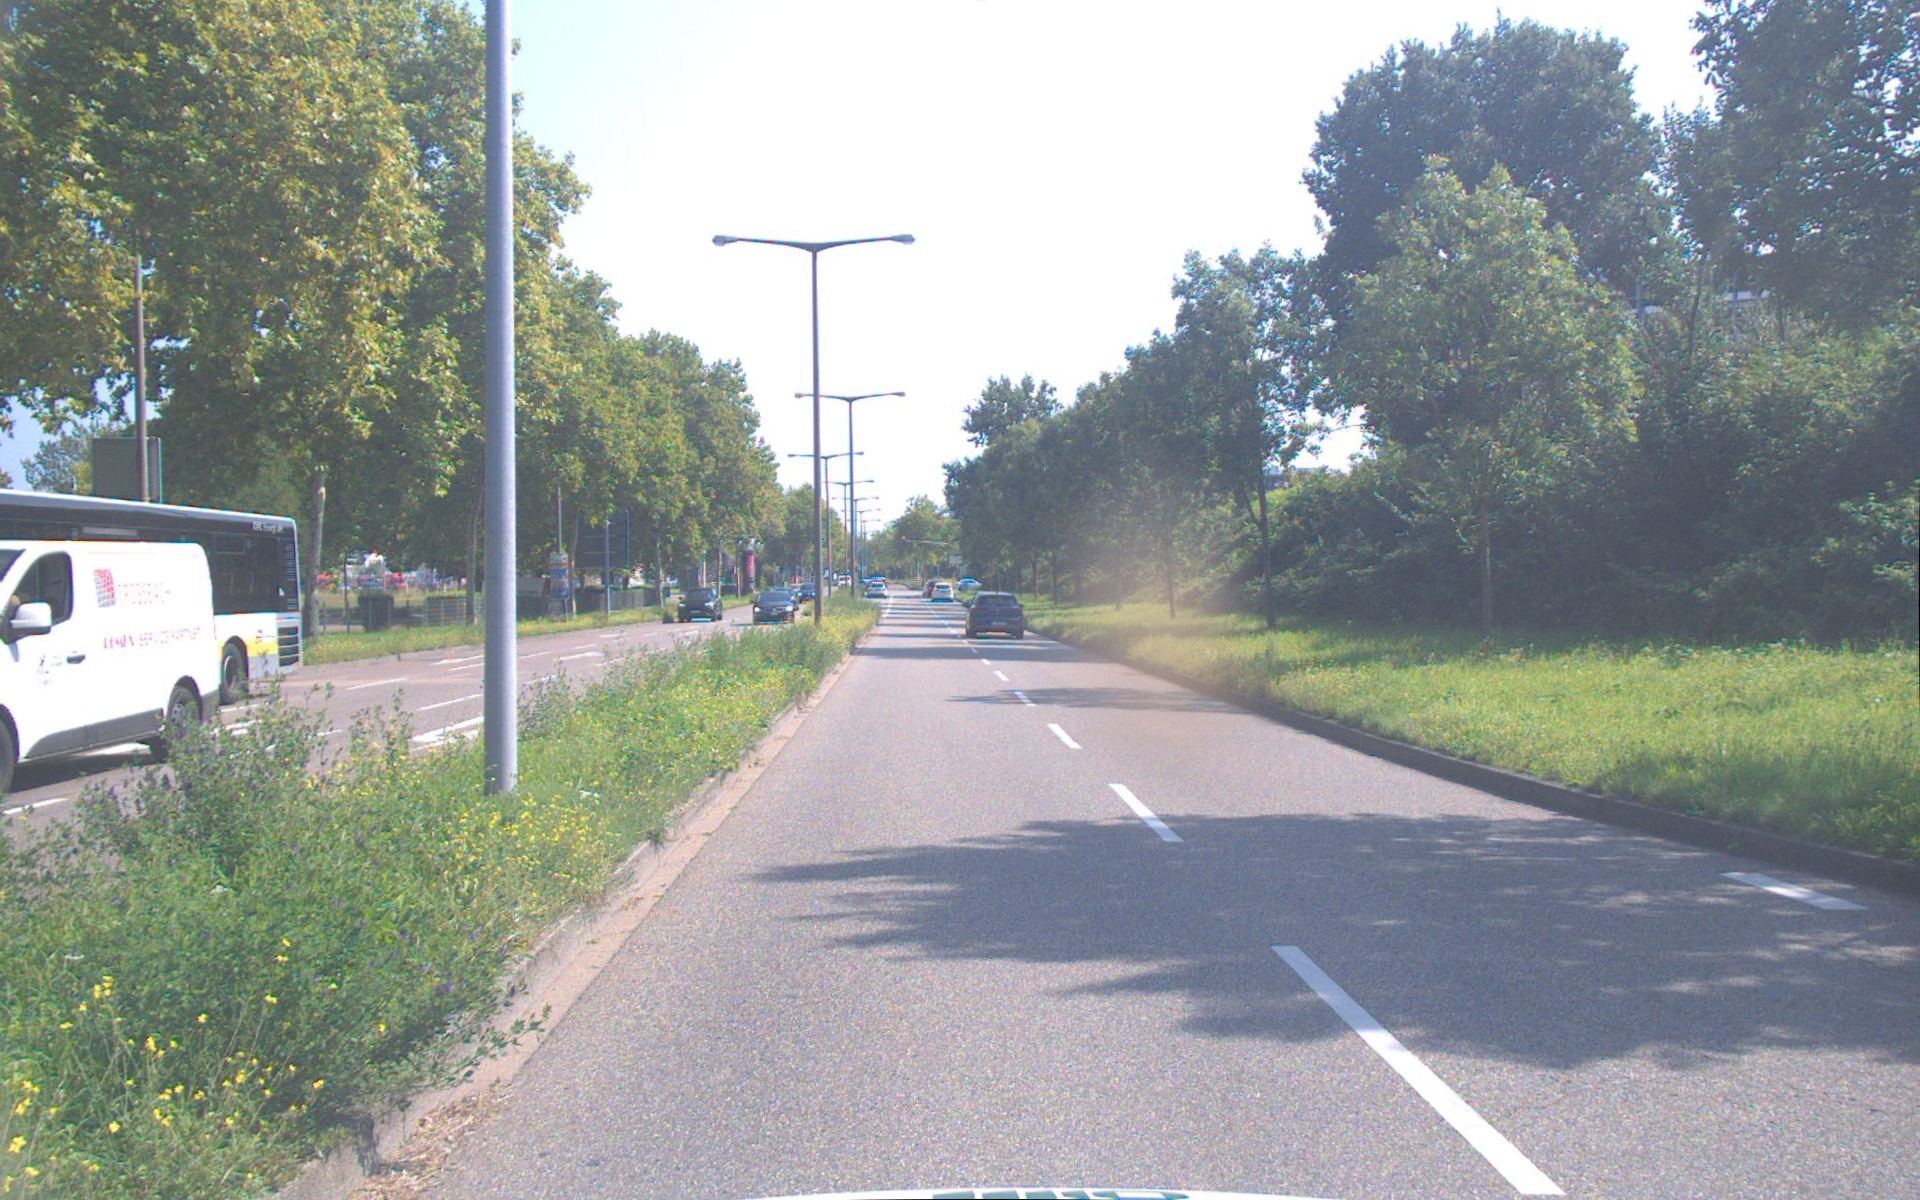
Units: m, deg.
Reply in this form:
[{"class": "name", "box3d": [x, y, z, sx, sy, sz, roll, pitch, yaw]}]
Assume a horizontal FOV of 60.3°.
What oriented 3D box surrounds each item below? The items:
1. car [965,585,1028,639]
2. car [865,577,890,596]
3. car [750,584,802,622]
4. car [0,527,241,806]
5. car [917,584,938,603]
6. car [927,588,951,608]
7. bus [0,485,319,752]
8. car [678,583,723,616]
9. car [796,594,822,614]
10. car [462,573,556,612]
[{"class": "car", "box3d": [1.115, 0.344, 52.509, 1.745, 1.452, 4.000, 1, 3, -2]}, {"class": "car", "box3d": [-7.569, -1.221, 152.199, 1.952, 1.731, 4.001, -1, 0, 2]}, {"class": "car", "box3d": [-7.937, 0.108, 71.760, 1.808, 1.516, 4.642, -2, 0, -1]}, {"class": "car", "box3d": [-7.835, 0.492, 13.226, 1.888, 1.994, 5.189, -2, 1, -1]}, {"class": "car", "box3d": [-3.435, -0.736, 174.219, 1.954, 1.682, 4.000, 0, 5, -4]}, {"class": "car", "box3d": [-1.782, -0.160, 139.666, 1.954, 1.683, 3.998, -1, 0, -3]}, {"class": "bus", "box3d": [-11.305, 0.238, 20.726, 2.608, 2.741, 10.901, -2, 0, -2]}, {"class": "car", "box3d": [-13.037, -0.028, 83.179, 1.809, 1.633, 4.607, 0, 0, -4]}, {"class": "car", "box3d": [-12.277, 0.294, 134.714, 1.954, 1.612, 4.343, 0, 0, -4]}, {"class": "car", "box3d": [-29.260, -0.489, 107.411, 5.473, 2.377, 2.278, 1, 3, -4]}]
